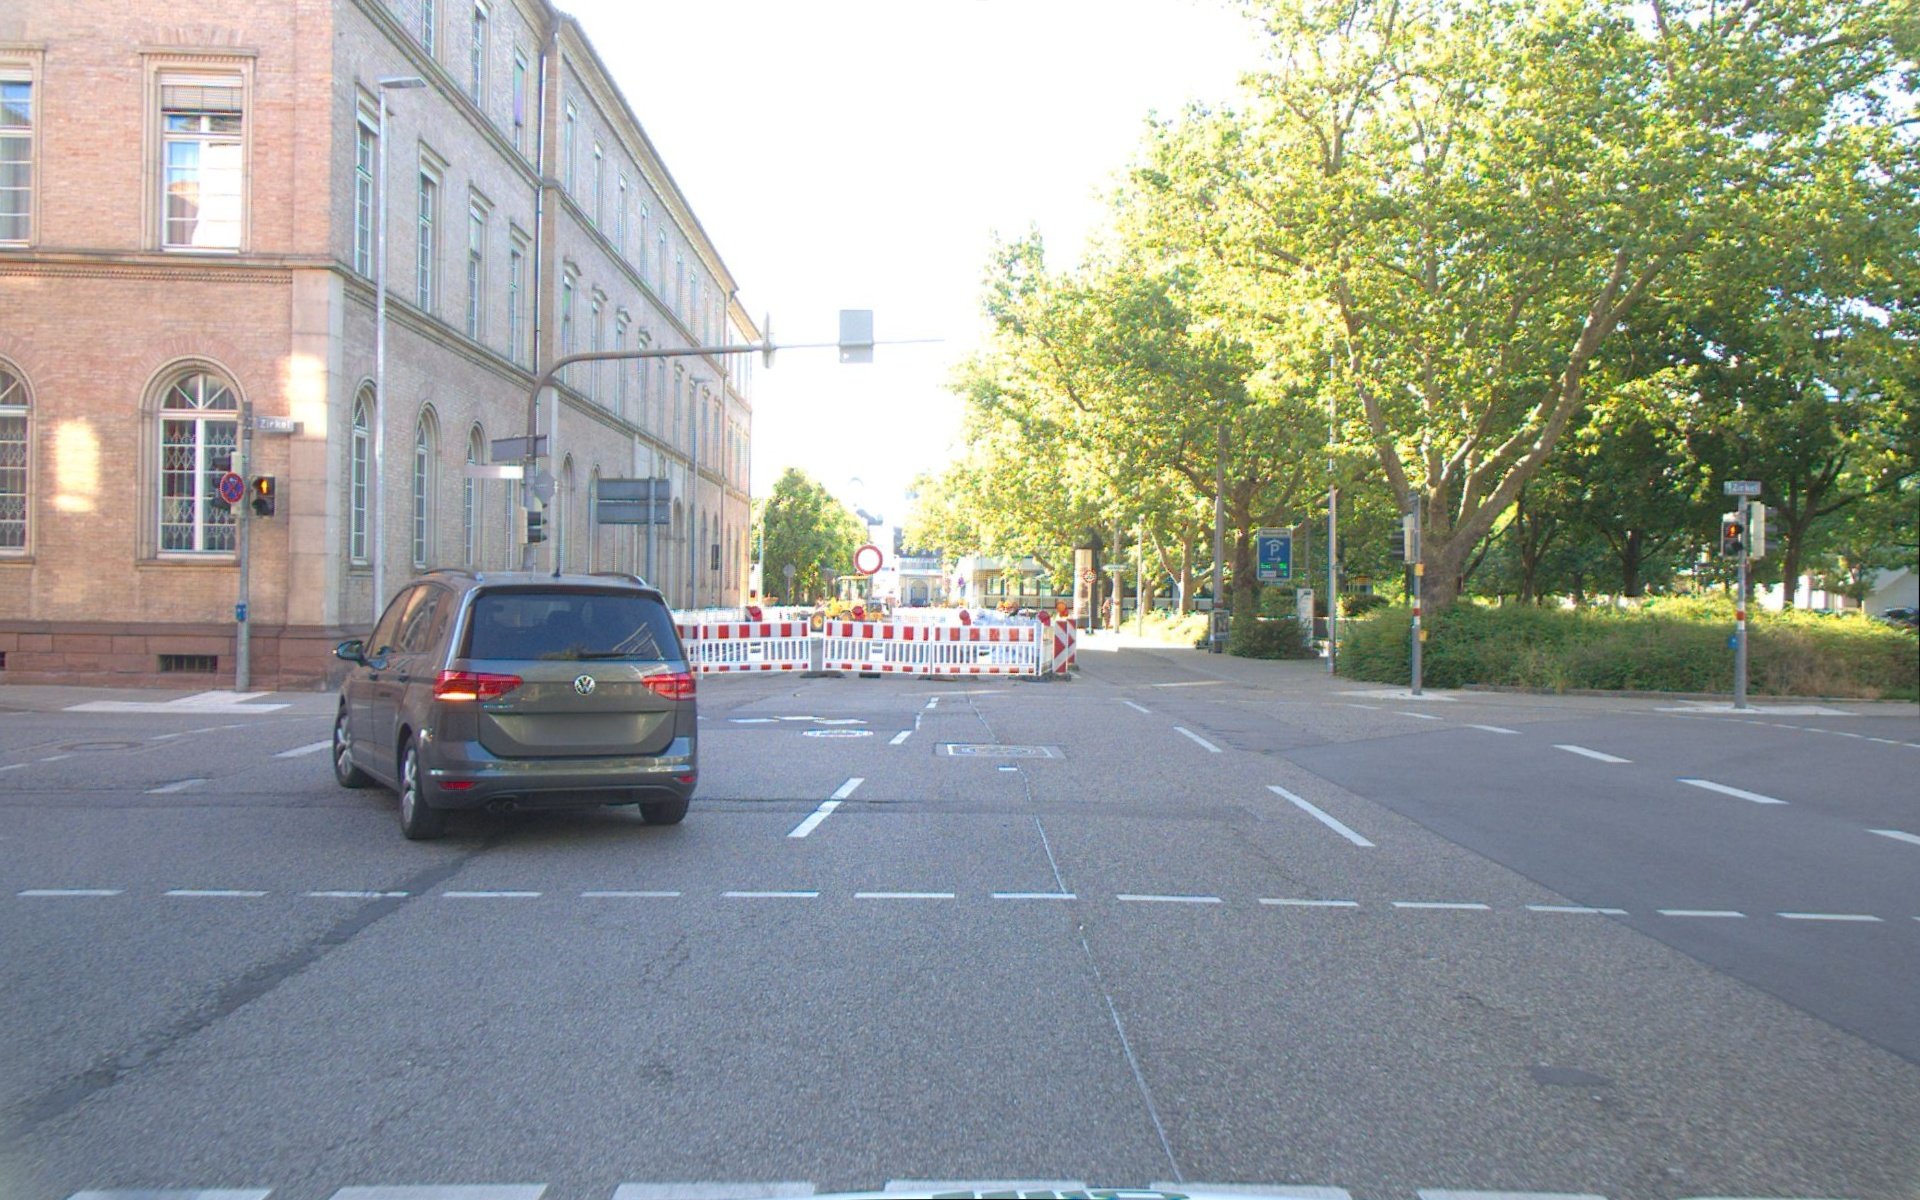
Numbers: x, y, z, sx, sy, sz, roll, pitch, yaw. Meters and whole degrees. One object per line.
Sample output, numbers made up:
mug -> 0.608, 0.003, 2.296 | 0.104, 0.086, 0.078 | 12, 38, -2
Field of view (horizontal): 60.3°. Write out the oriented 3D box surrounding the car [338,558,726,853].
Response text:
car -> -3.093, 0.572, 11.350 | 1.741, 1.635, 3.964 | 0, 0, -28

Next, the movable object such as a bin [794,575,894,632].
movable object such as a bin -> -5.961, 0.189, 84.617 | 4.754, 2.825, 2.460 | 0, -1, 41

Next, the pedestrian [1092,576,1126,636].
pedestrian -> 6.801, 0.279, 75.442 | 1.389, 2.714, 1.149 | 0, -1, 11

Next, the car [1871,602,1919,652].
car -> 35.787, 0.984, 61.480 | 1.951, 1.810, 4.002 | 1, 0, 6
